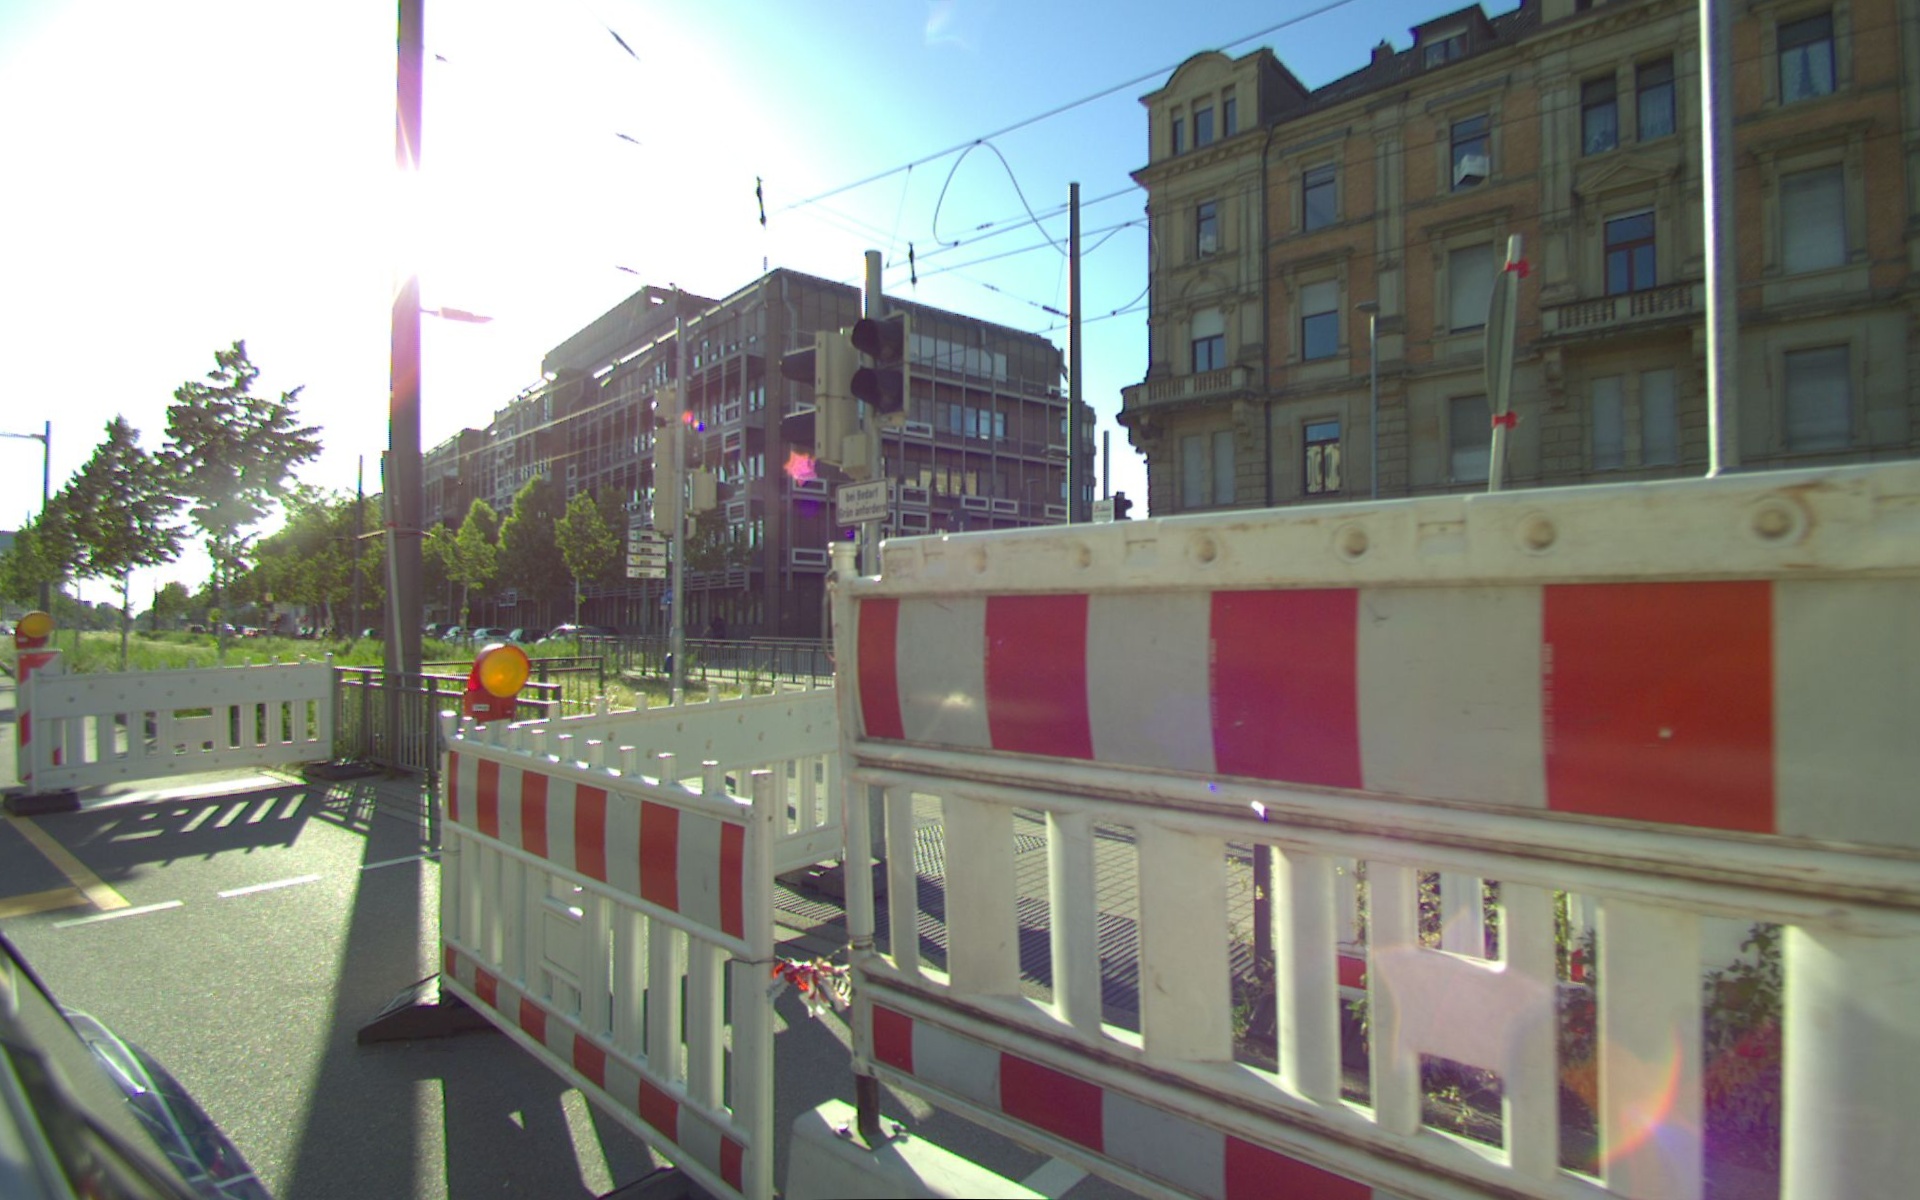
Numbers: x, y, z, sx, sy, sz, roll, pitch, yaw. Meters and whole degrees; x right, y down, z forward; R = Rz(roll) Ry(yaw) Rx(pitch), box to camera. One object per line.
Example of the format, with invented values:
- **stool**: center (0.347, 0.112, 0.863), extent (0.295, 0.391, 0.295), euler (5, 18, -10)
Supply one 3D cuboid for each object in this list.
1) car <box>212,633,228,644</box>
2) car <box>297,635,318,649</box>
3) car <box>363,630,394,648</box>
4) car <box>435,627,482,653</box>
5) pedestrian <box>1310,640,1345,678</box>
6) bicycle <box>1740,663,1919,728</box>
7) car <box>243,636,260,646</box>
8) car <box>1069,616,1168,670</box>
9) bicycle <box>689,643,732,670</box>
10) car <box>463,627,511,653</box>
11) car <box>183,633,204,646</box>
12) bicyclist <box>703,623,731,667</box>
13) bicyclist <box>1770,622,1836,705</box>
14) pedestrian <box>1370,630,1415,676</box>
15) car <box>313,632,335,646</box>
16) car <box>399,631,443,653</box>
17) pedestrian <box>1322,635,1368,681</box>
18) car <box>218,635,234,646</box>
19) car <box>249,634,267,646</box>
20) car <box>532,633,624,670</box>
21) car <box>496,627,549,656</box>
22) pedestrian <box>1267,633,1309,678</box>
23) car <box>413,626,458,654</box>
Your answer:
- **car**: center (-116.462, 6.116, 159.213), extent (1.837, 1.694, 3.786), euler (2, -3, -39)
- **car**: center (-83.755, 5.382, 129.858), extent (1.701, 1.614, 3.636), euler (-1, -4, -41)
- **car**: center (-48.590, 3.237, 84.550), extent (1.694, 1.397, 4.047), euler (1, -2, -38)
- **car**: center (-32.117, 2.561, 64.770), extent (1.716, 1.548, 3.889), euler (0, -2, -41)
- **pedestrian**: center (10.615, 1.702, 29.200), extent (0.736, 1.067, 0.683), euler (-2, -2, 42)
- **bicycle**: center (13.222, 1.427, 15.443), extent (2.031, 0.864, 0.630), euler (-2, -2, 42)
- **car**: center (-102.367, 5.915, 146.191), extent (1.607, 1.507, 4.424), euler (2, -3, -39)
- **car**: center (6.082, 1.625, 38.455), extent (1.895, 1.918, 4.468), euler (-2, -3, 36)
- **bicycle**: center (-9.420, 2.116, 38.187), extent (1.827, 0.985, 0.687), euler (-2, -2, 42)
- **car**: center (-28.536, 2.386, 60.989), extent (1.605, 1.452, 3.824), euler (0, -1, -41)
- **car**: center (-101.791, 5.231, 134.375), extent (1.707, 1.760, 4.125), euler (1, -2, -43)
- **bicyclist**: center (-9.196, 1.693, 38.304), extent (0.882, 1.670, 0.687), euler (-2, -2, 42)
- **bicyclist**: center (13.017, 0.962, 15.627), extent (0.738, 1.249, 0.630), euler (-2, -2, 42)
- **pedestrian**: center (11.693, 1.428, 27.339), extent (0.929, 1.217, 0.683), euler (-2, -2, 42)
- **car**: center (-77.504, 4.775, 123.393), extent (1.701, 1.555, 3.636), euler (-1, -1, -41)
- **car**: center (-38.831, 3.040, 72.889), extent (1.708, 1.480, 4.509), euler (-1, -1, -42)
- **pedestrian**: center (10.506, 1.567, 27.605), extent (0.929, 1.217, 0.782), euler (-2, -2, 42)
- **car**: center (-106.308, 5.821, 146.535), extent (1.607, 1.507, 3.785), euler (2, -3, -40)
- **car**: center (-97.602, 5.585, 140.679), extent (1.695, 1.397, 4.046), euler (-4, 4, -40)
- **car**: center (-15.487, 2.074, 40.977), extent (4.069, 1.431, 1.833), euler (-2, -3, 42)
- **car**: center (-24.711, 2.347, 57.101), extent (1.629, 1.566, 3.972), euler (1, -2, -41)
- **pedestrian**: center (9.424, 1.590, 29.094), extent (0.929, 1.256, 0.683), euler (-2, -2, 42)
- **car**: center (-35.450, 2.707, 68.392), extent (1.729, 1.785, 4.337), euler (0, -2, -41)
